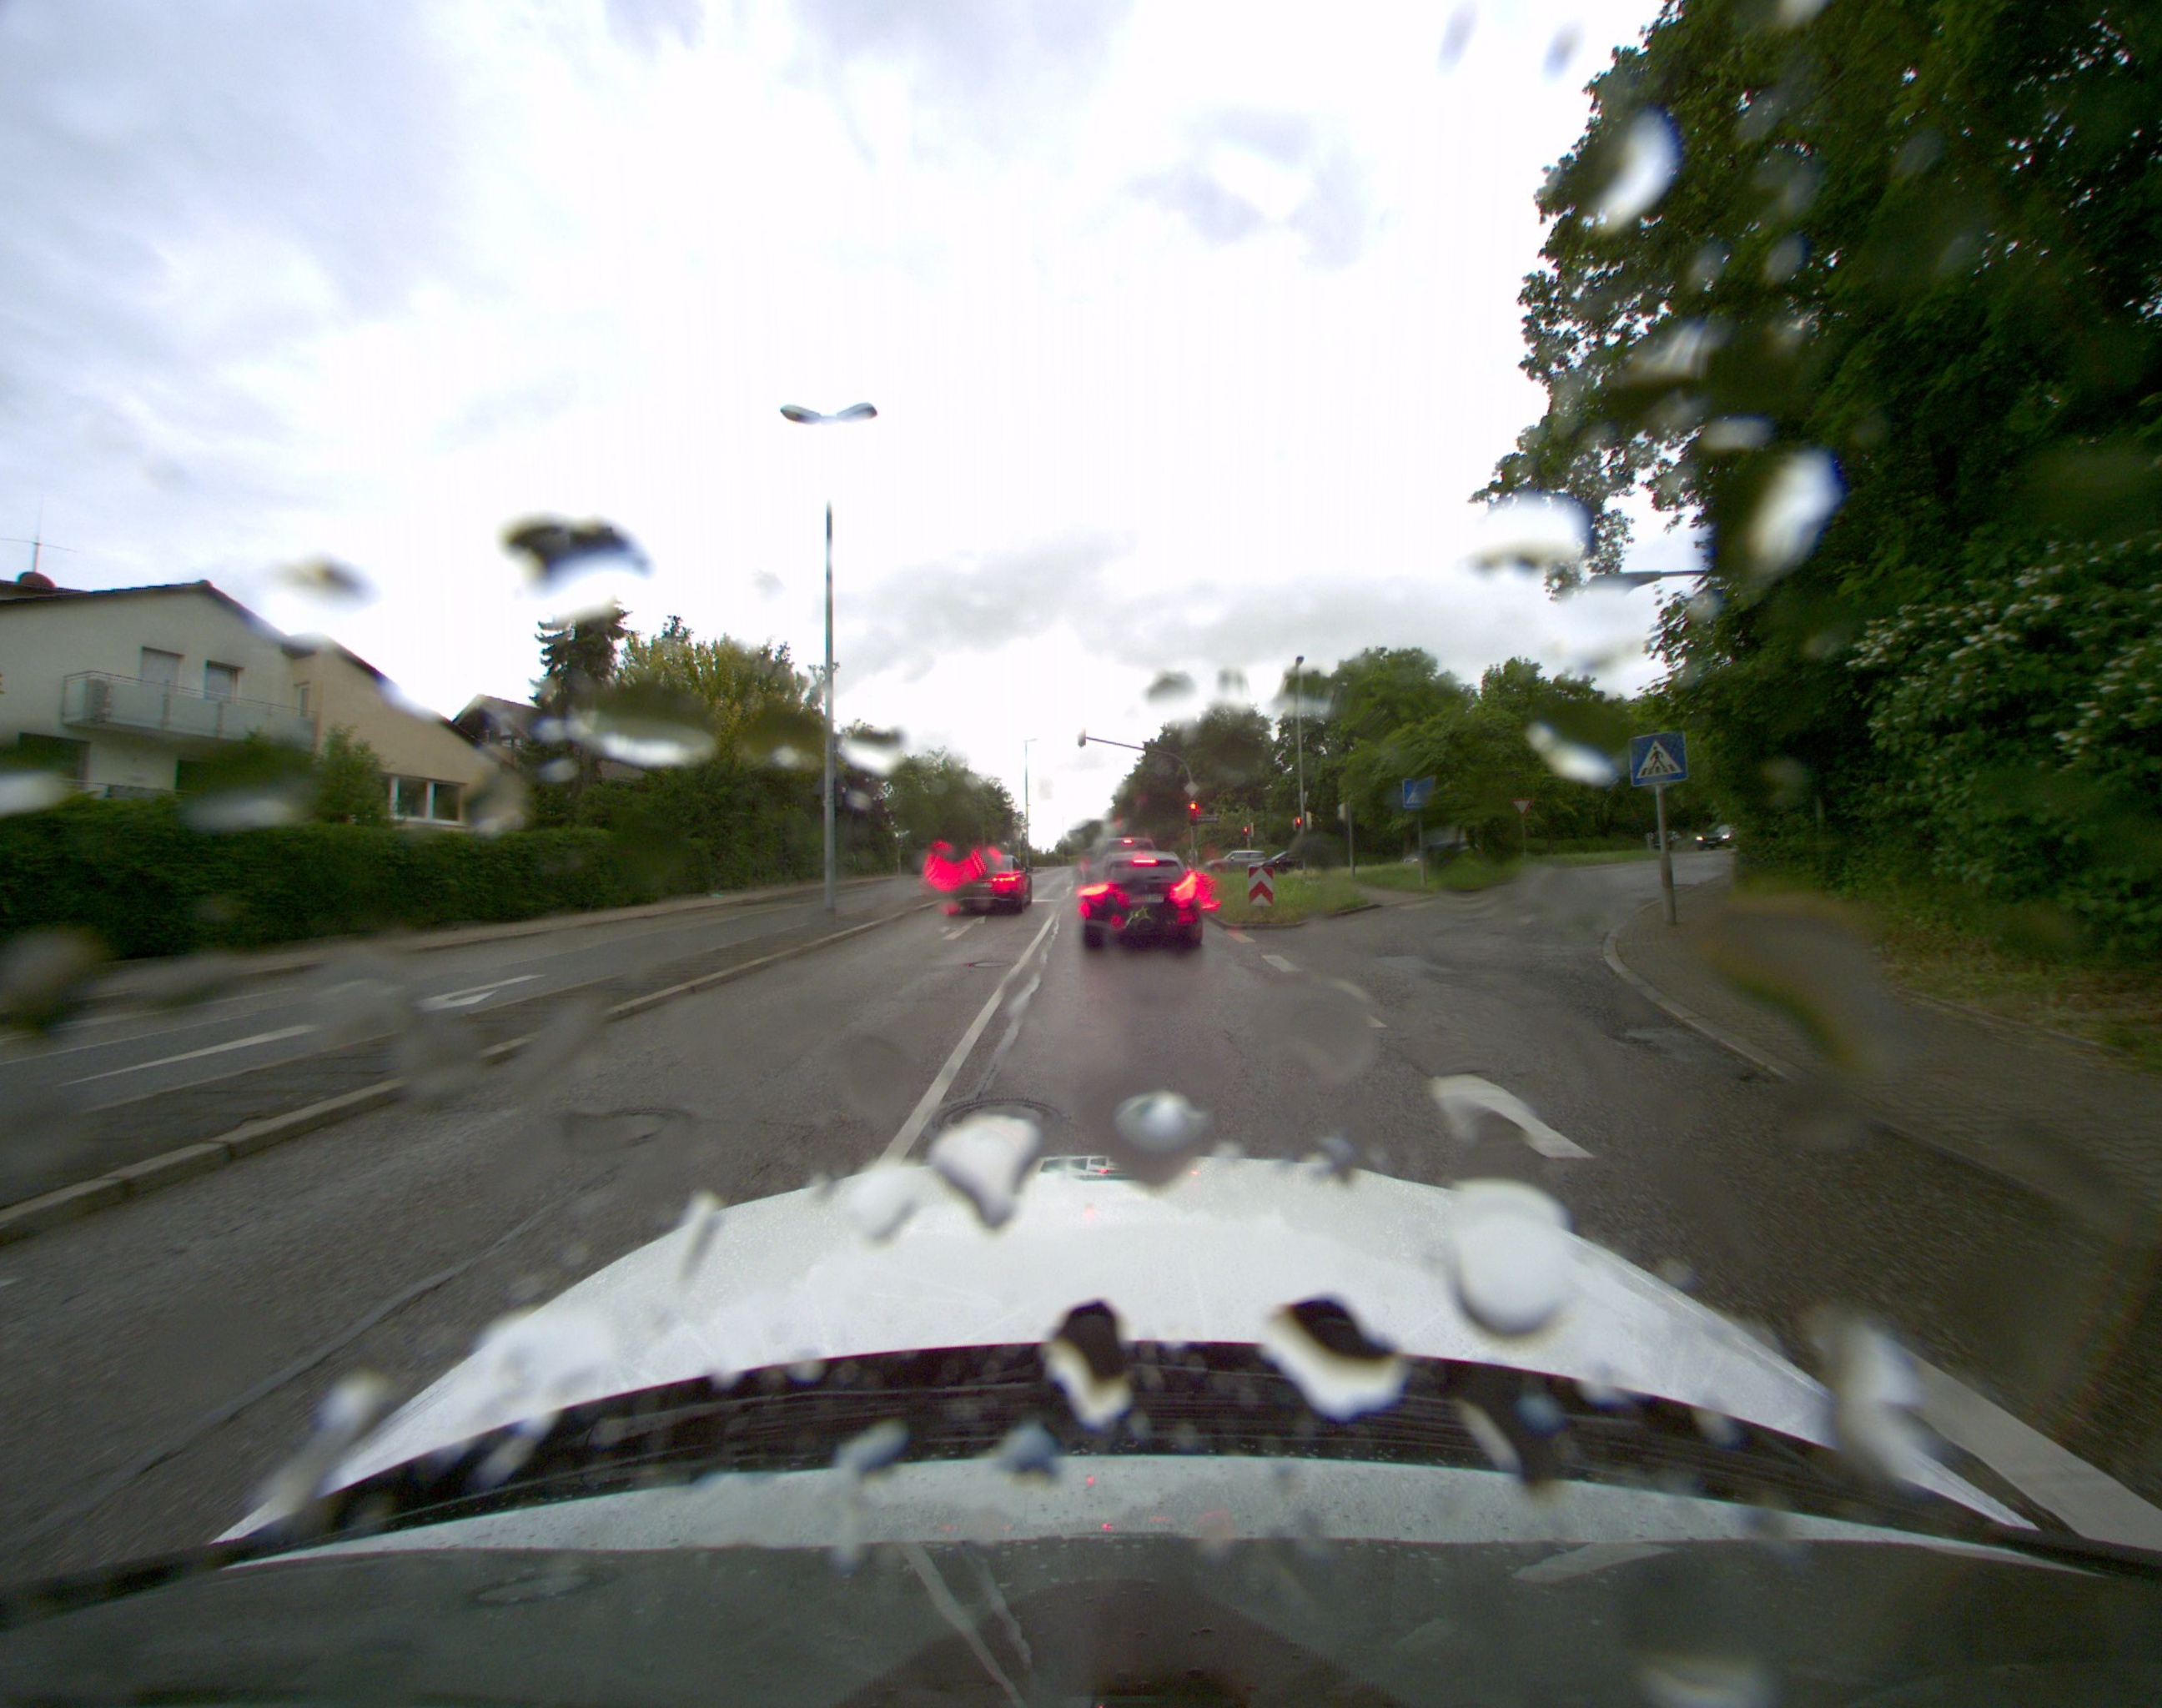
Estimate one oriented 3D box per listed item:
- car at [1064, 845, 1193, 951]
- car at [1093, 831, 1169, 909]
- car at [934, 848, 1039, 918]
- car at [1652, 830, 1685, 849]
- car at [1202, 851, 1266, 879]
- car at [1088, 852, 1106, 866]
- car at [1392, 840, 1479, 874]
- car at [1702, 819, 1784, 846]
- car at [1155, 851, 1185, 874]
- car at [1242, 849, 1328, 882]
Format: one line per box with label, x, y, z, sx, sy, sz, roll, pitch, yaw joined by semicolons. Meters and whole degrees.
car;0.912;0.669;14.268;1.889;1.551;4.621;0;-1;5
car;1.279;0.397;21.586;1.811;1.868;3.954;0;0;2
car;-2.305;0.673;21.114;1.986;1.527;4.330;-3;0;2
car;46.402;-1.138;64.290;1.655;1.370;3.511;-2;0;43
car;8.855;0.653;47.338;3.484;1.427;1.706;-3;-1;6
car;1.961;0.620;100.230;1.986;1.624;3.954;-3;0;2
car;19.469;0.158;44.775;4.016;1.602;1.743;-3;0;-8
car;45.961;-1.485;56.559;4.708;1.717;1.991;-2;0;-14
car;6.561;0.590;60.535;1.866;1.542;3.954;-3;0;2
car;10.701;0.576;42.866;3.980;1.509;1.898;-3;0;-5
